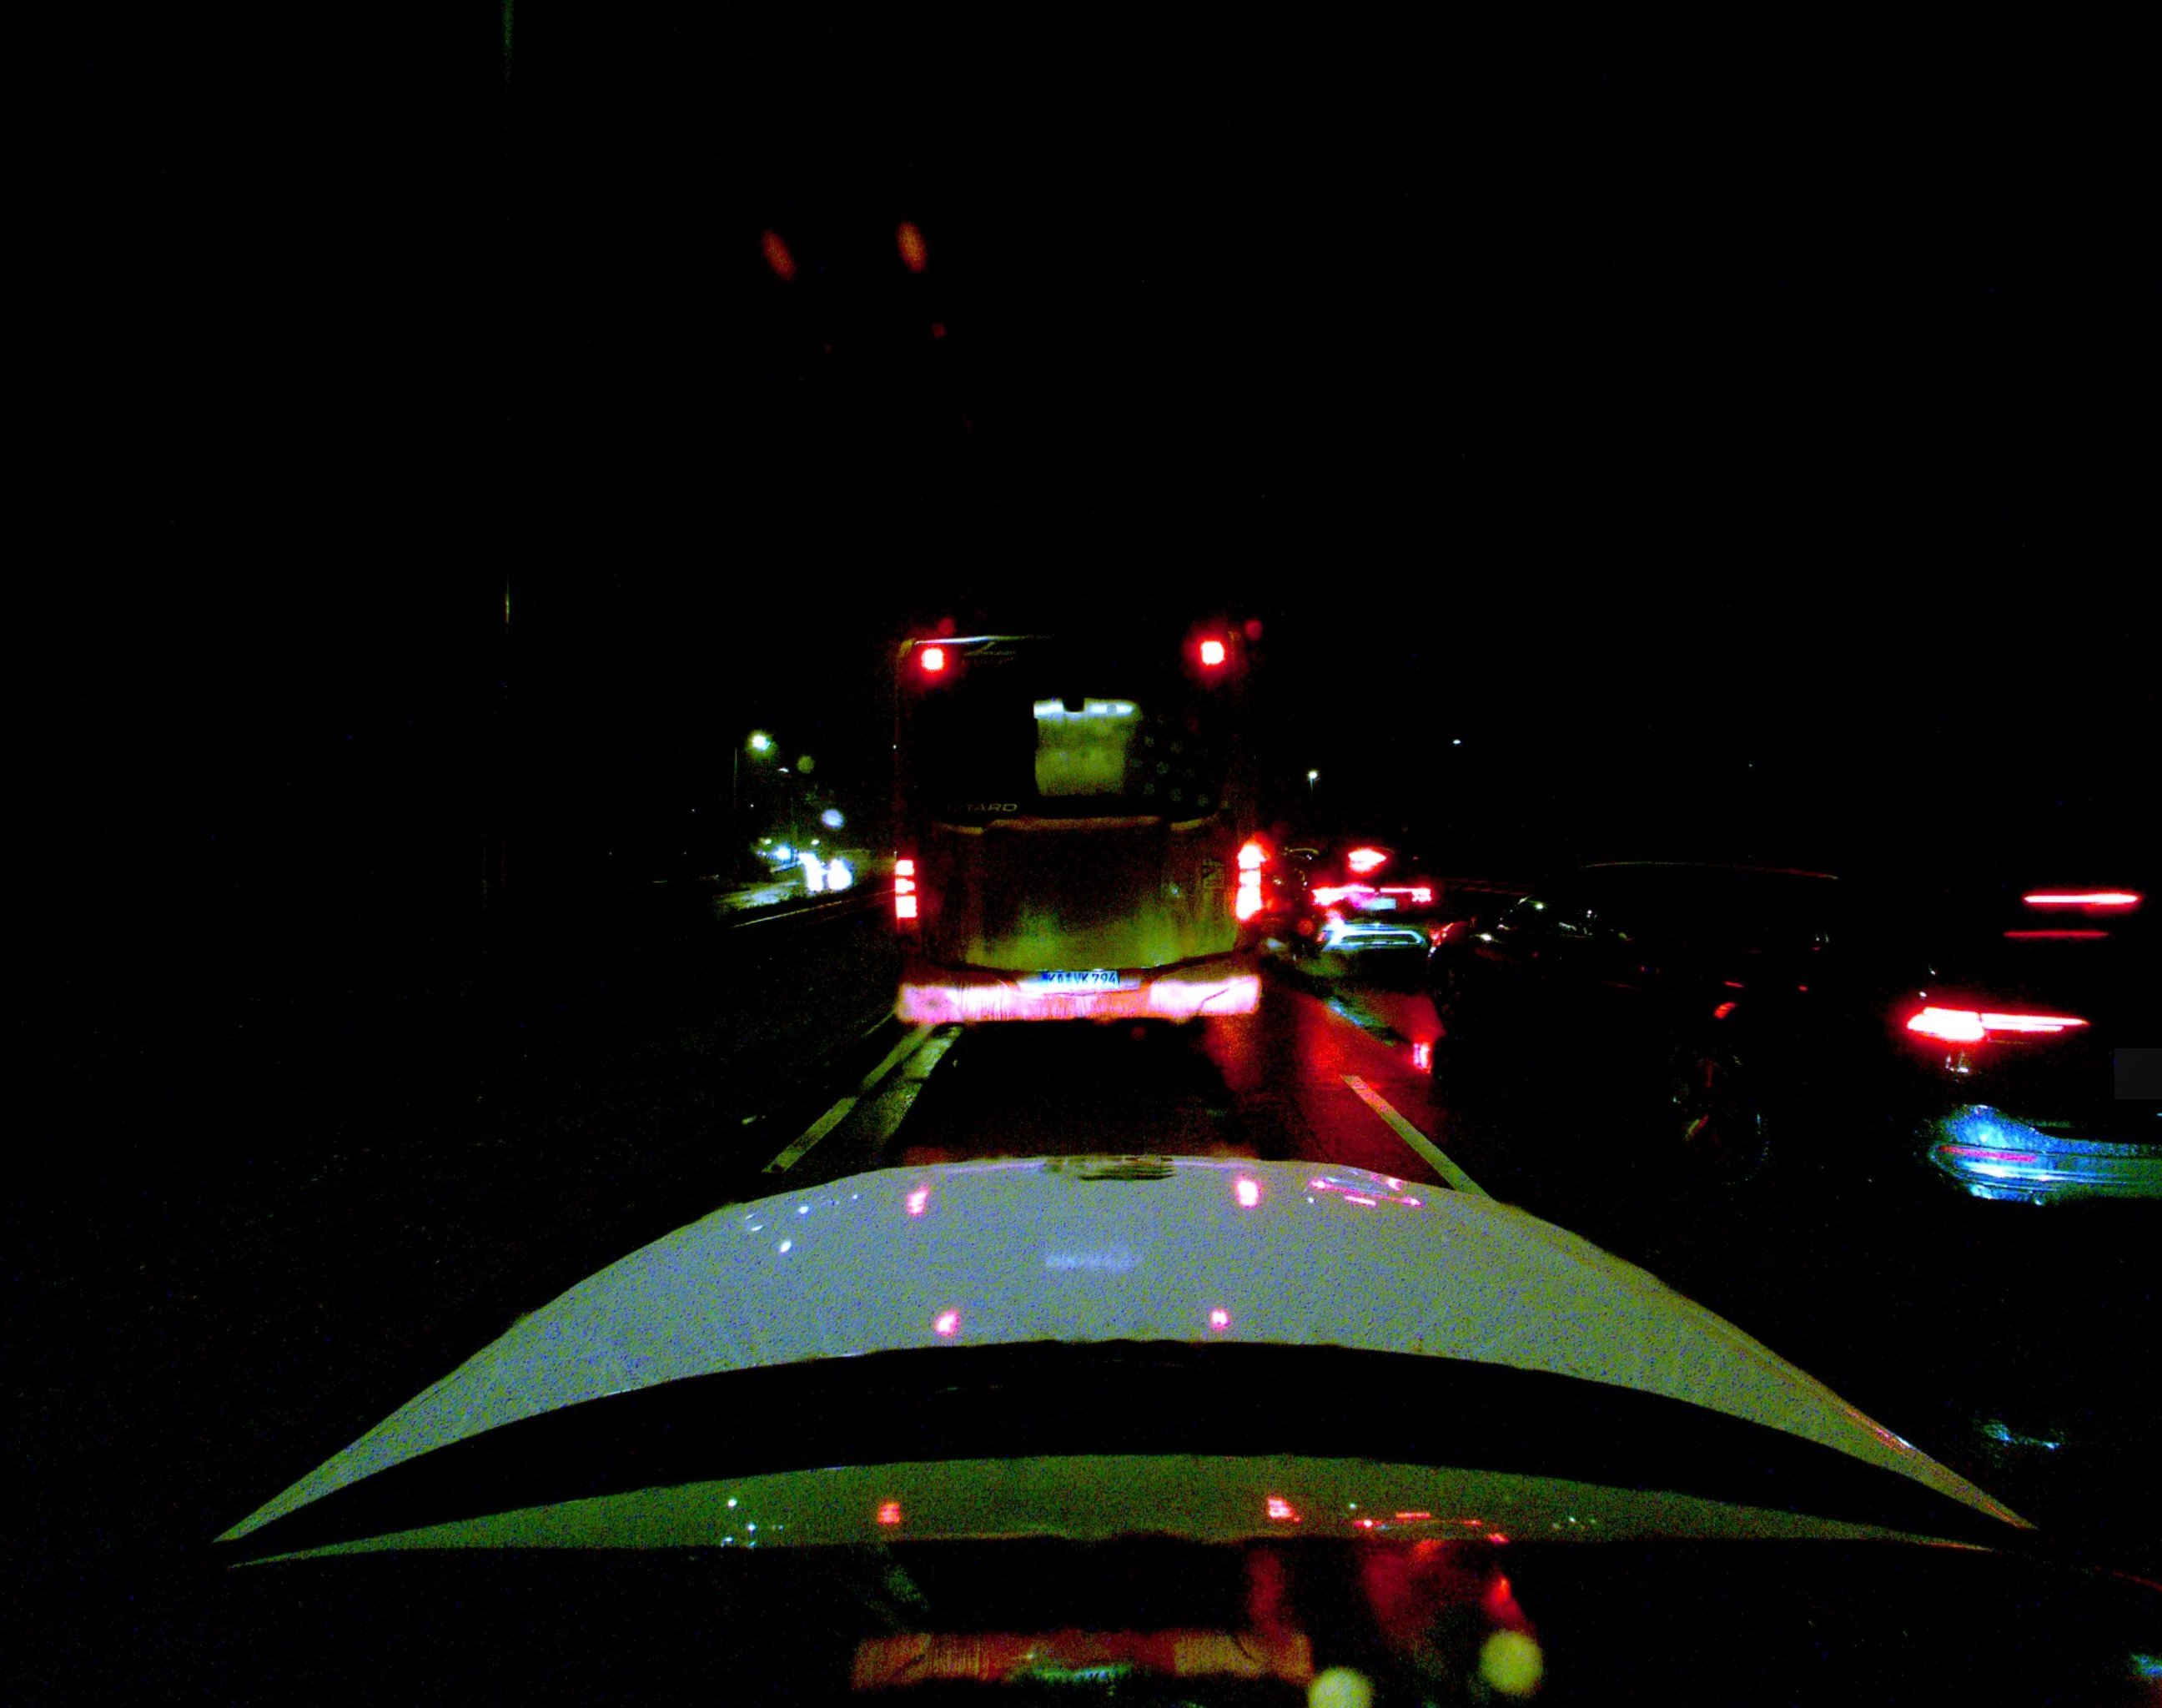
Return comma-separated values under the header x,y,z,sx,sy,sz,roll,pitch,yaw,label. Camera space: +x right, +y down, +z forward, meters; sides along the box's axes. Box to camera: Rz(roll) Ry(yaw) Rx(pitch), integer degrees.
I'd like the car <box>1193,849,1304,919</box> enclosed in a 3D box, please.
x,y,z,sx,sy,sz,roll,pitch,yaw,label
3.594,0.600,18.134,1.680,1.330,3.960,-2,0,1,car

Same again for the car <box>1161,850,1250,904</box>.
x,y,z,sx,sy,sz,roll,pitch,yaw,label
3.552,0.633,23.937,1.987,1.441,3.999,0,-1,0,car

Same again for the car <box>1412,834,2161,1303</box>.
x,y,z,sx,sy,sz,roll,pitch,yaw,label
3.688,0.684,4.896,1.666,1.506,4.561,0,0,2,car

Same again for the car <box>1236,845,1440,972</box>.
x,y,z,sx,sy,sz,roll,pitch,yaw,label
3.489,0.674,11.832,1.672,1.521,3.959,0,-1,-1,car

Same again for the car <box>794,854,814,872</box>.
x,y,z,sx,sy,sz,roll,pitch,yaw,label
-27.344,0.901,80.426,1.764,1.739,3.972,0,-1,-20,car

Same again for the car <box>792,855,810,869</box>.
x,y,z,sx,sy,sz,roll,pitch,yaw,label
-33.120,0.930,96.239,1.773,1.631,4.219,-1,0,-22,car

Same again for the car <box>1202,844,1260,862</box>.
x,y,z,sx,sy,sz,roll,pitch,yaw,label
12.592,-0.101,68.484,4.477,1.519,1.853,0,2,-6,car

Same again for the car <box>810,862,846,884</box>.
x,y,z,sx,sy,sz,roll,pitch,yaw,label
-18.670,1.375,60.285,1.995,1.508,4.820,-2,0,-11,car

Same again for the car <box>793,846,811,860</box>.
x,y,z,sx,sy,sz,roll,pitch,yaw,label
-29.846,-0.096,87.181,1.633,1.369,3.695,0,-1,-22,car

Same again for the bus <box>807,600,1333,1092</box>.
x,y,z,sx,sy,sz,roll,pitch,yaw,label
-0.035,-0.159,9.977,3.274,3.050,9.544,-2,1,0,bus
